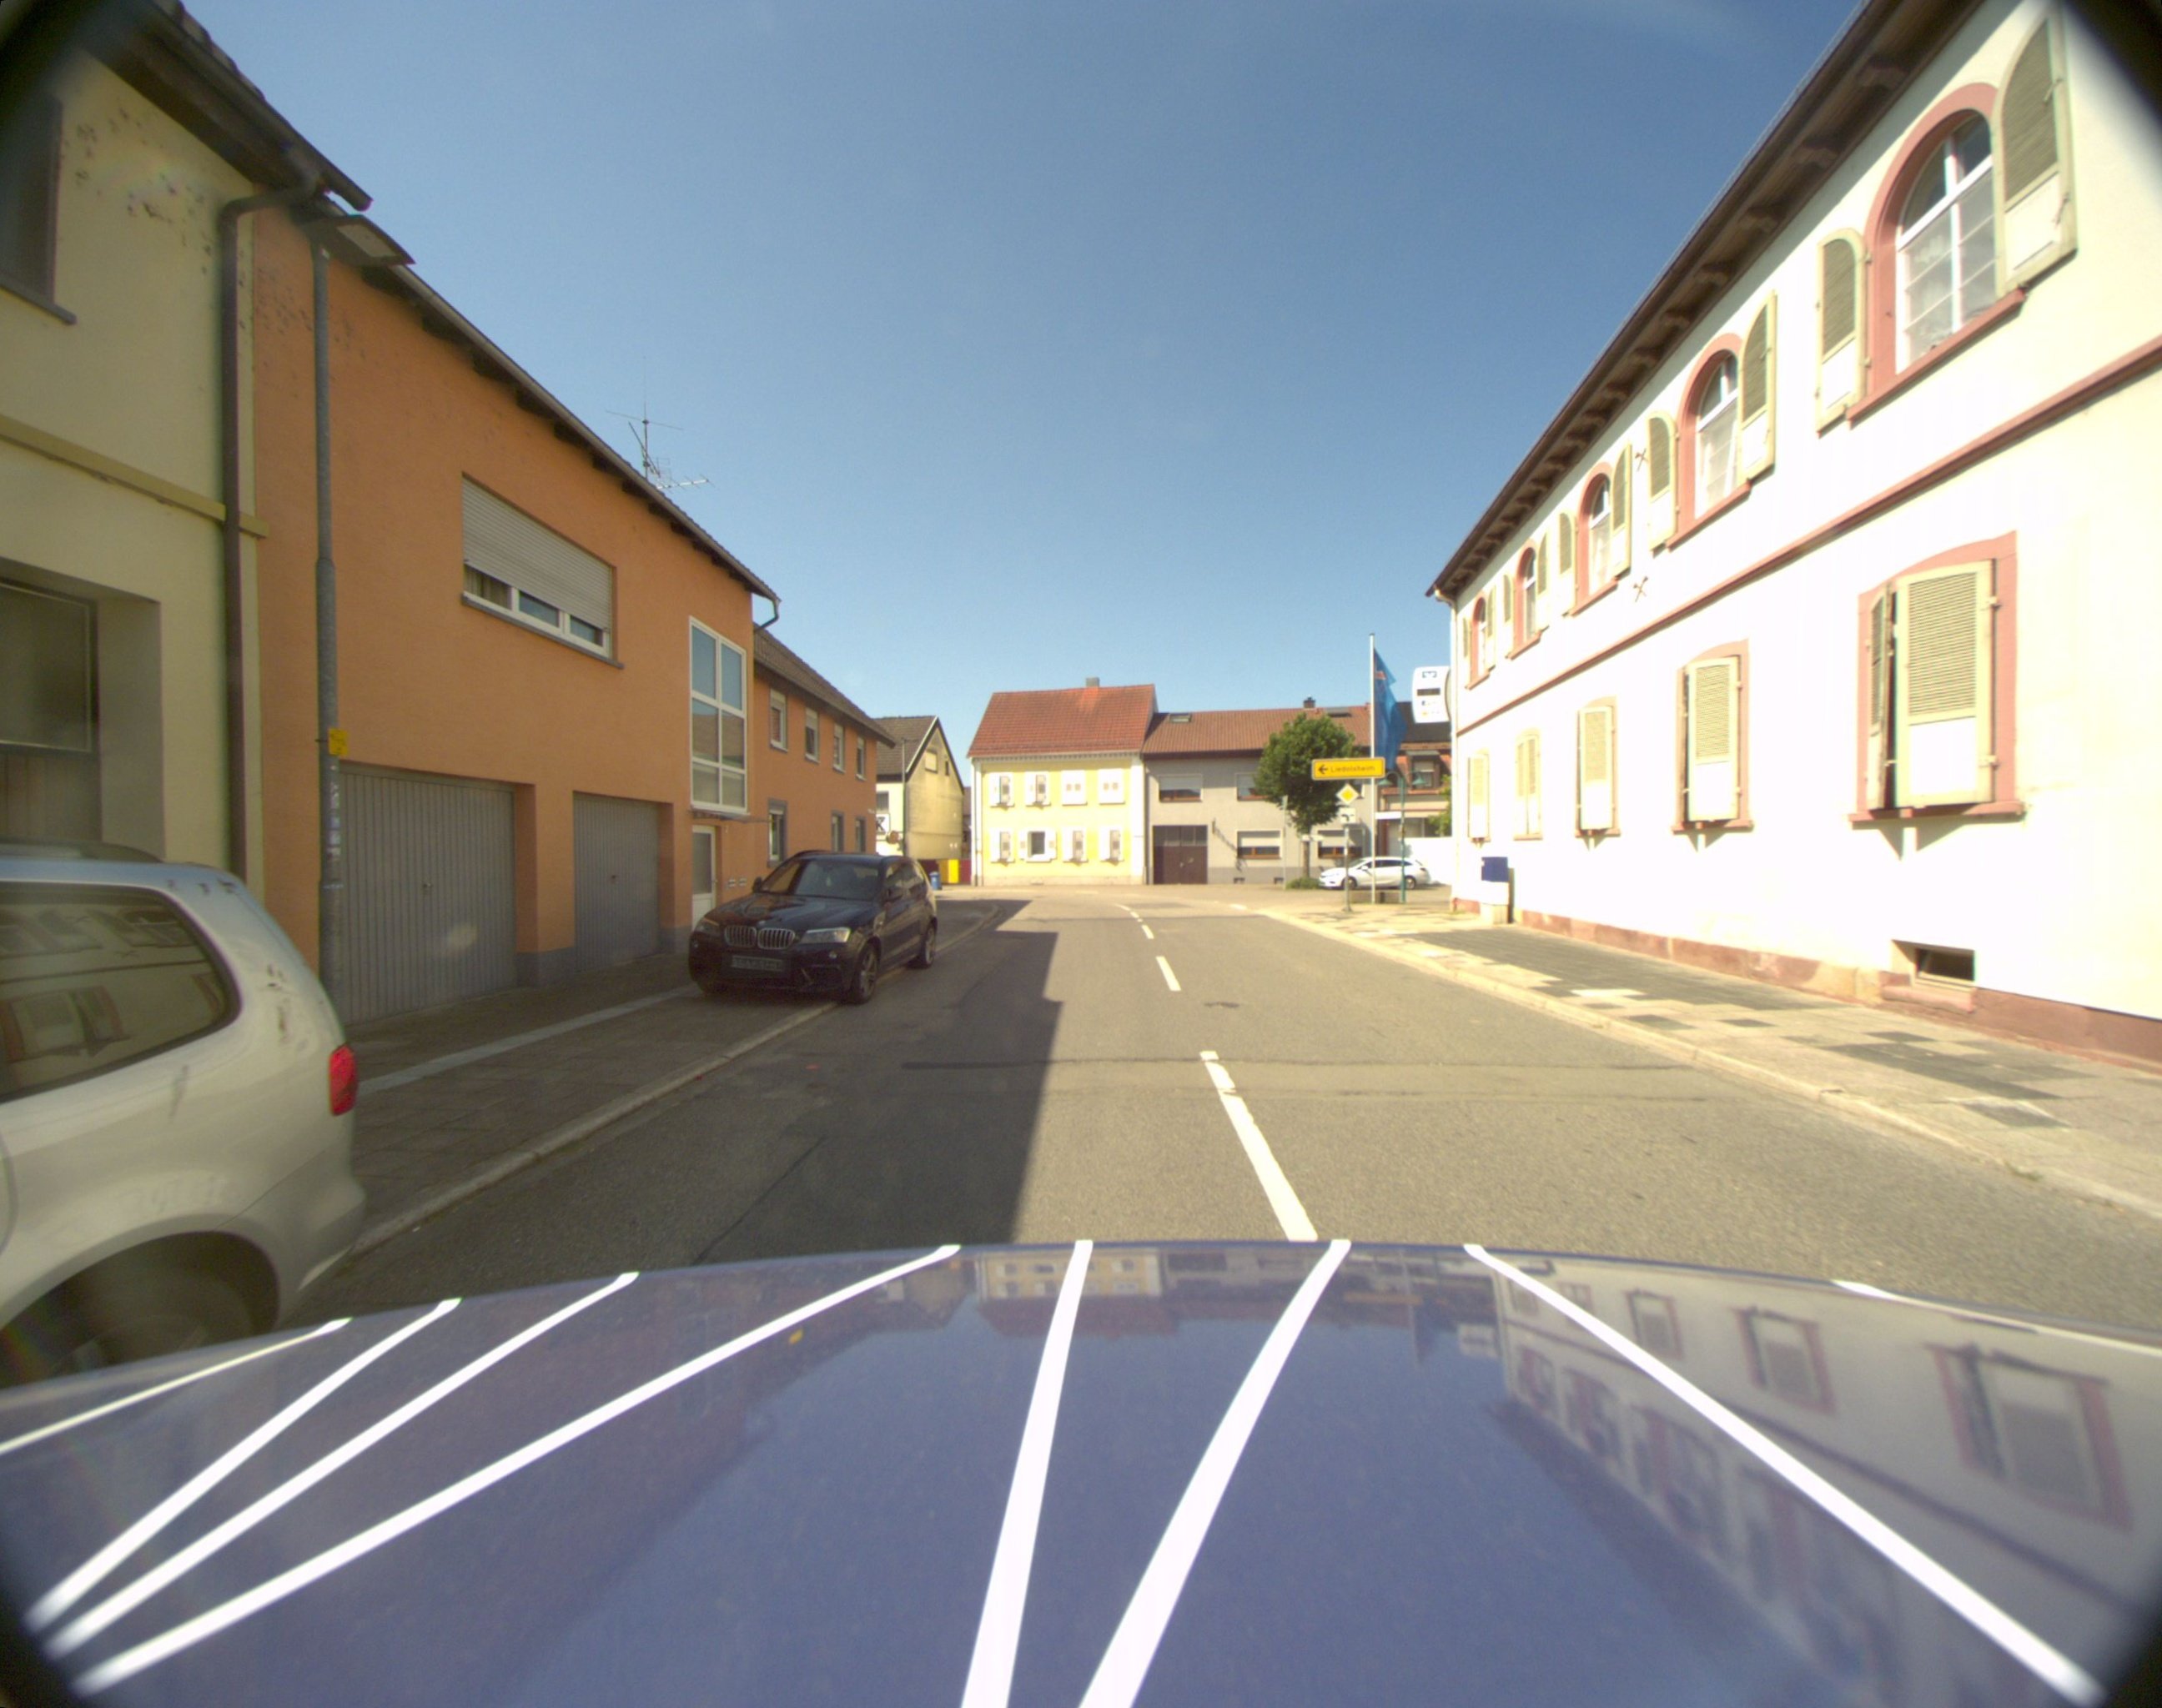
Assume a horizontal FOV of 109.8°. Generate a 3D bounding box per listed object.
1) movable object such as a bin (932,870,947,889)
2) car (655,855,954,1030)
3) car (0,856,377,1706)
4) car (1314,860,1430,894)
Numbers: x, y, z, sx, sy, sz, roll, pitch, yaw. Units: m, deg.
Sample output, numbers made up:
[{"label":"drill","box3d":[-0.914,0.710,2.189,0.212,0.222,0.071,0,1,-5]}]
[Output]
[{"label":"movable object such as a bin","box3d":[-7.424,1.355,39.854,0.613,0.975,0.645,-1,0,3]},{"label":"car","box3d":[-3.156,0.888,10.043,1.848,1.692,5.182,0,0,3]},{"label":"car","box3d":[-3.204,0.869,0.232,1.903,1.718,4.249,-1,0,2]},{"label":"car","box3d":[13.072,1.005,34.310,4.510,1.432,1.855,-1,0,-1]}]
